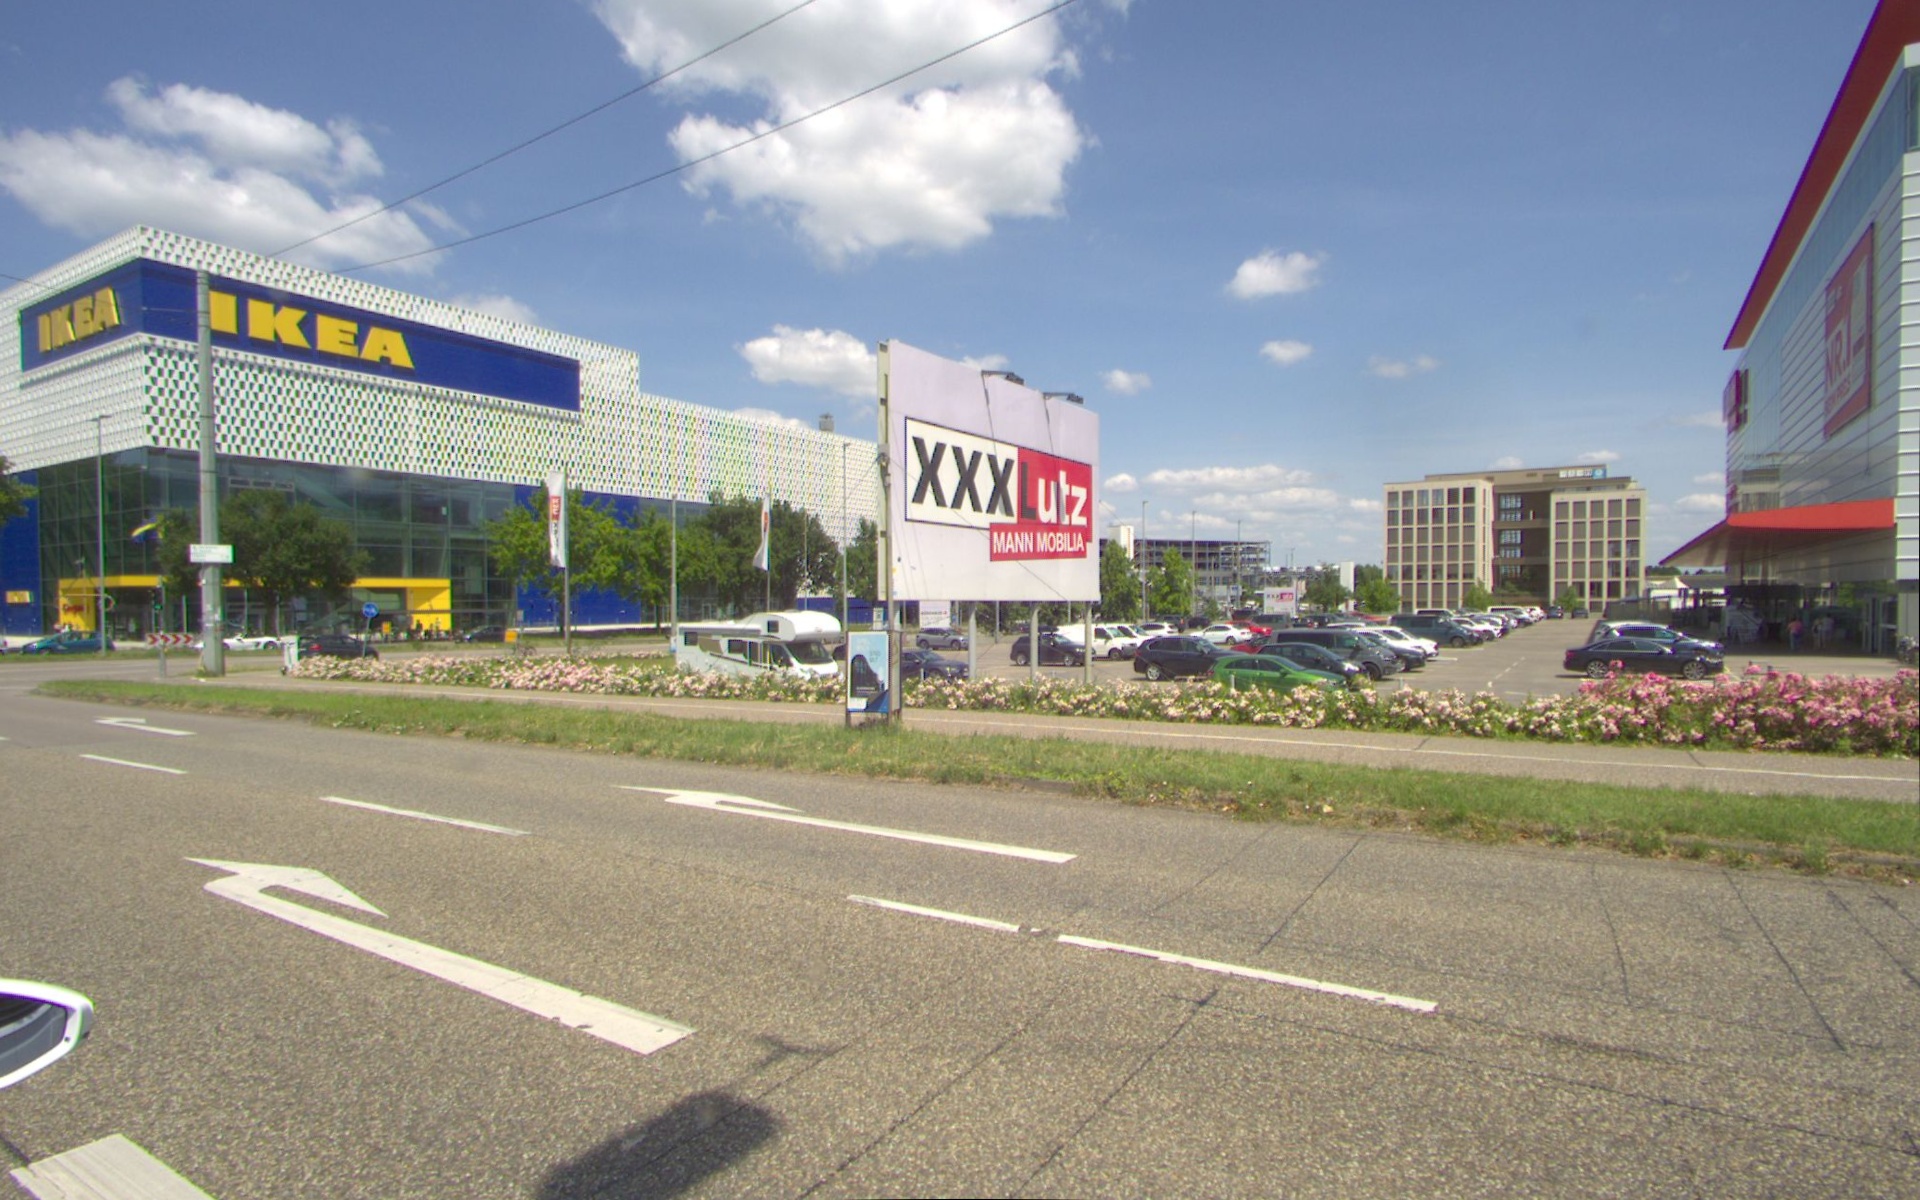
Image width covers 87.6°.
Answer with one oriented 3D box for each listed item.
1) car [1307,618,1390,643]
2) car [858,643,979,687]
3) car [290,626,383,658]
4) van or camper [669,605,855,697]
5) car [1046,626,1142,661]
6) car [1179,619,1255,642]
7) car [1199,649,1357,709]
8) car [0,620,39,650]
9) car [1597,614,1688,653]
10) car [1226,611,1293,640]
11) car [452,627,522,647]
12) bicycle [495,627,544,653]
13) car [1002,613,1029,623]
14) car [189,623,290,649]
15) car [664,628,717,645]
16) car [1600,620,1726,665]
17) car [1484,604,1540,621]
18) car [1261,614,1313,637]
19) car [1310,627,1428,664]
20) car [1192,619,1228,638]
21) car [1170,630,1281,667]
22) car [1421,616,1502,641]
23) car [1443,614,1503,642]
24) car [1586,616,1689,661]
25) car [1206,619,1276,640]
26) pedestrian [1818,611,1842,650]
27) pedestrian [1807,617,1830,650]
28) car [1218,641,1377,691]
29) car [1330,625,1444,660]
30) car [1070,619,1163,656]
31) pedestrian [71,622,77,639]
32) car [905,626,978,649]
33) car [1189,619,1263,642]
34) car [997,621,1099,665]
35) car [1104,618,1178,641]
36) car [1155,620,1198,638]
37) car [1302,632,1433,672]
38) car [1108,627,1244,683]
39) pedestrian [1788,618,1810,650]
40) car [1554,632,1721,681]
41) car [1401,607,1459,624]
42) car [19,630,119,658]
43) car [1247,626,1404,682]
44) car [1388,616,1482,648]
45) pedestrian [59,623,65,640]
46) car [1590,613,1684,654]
[{"bbox_3d":[26.141,2.037,67.481,4.930,1.631,1.990,-1,-1,33],"label":"car"},{"bbox_3d":[-1.735,2.621,41.085,4.702,1.558,1.989,-1,0,33],"label":"car"},{"bbox_3d":[-31.724,2.110,51.126,1.733,1.546,4.098,0,-1,10],"label":"car"},{"bbox_3d":[-7.317,1.771,36.474,7.129,3.059,2.499,-1,-1,36],"label":"van or camper"},{"bbox_3d":[7.442,2.377,55.753,4.930,1.876,1.990,-1,-1,33],"label":"car"},{"bbox_3d":[18.479,2.175,72.129,4.930,1.631,1.990,-1,-1,33],"label":"car"},{"bbox_3d":[9.745,2.374,30.751,4.242,1.517,1.988,-1,2,33],"label":"car"},{"bbox_3d":[-48.830,1.718,49.545,1.974,1.505,4.485,-1,-2,36],"label":"car"},{"bbox_3d":[36.720,1.788,54.024,3.943,2.040,1.990,-1,-1,32],"label":"car"},{"bbox_3d":[24.719,2.085,82.677,4.930,2.333,1.990,-1,-1,33],"label":"car"},{"bbox_3d":[-35.923,2.782,76.167,1.974,1.505,4.484,-1,-2,36],"label":"car"},{"bbox_3d":[-25.186,2.272,57.326,0.976,1.500,2.415,-1,-1,37],"label":"bicycle"},{"bbox_3d":[8.240,2.685,148.632,1.974,1.505,4.485,-1,-2,36],"label":"car"},{"bbox_3d":[-42.697,2.150,59.437,1.974,1.505,4.485,-1,-2,36],"label":"car"},{"bbox_3d":[-24.716,3.343,91.927,1.974,1.505,4.484,-1,-2,36],"label":"car"},{"bbox_3d":[29.724,1.796,42.531,4.271,1.804,1.990,-1,-2,33],"label":"car"},{"bbox_3d":[56.557,1.315,102.626,4.930,1.631,1.990,-1,-1,33],"label":"car"},{"bbox_3d":[28.880,2.257,88.425,3.943,2.040,1.990,-1,-1,32],"label":"car"},{"bbox_3d":[19.375,2.119,47.534,4.930,1.631,1.990,-1,-1,33],"label":"car"},{"bbox_3d":[32.173,3.666,129.060,4.067,2.037,1.481,4,-4,33],"label":"car"},{"bbox_3d":[12.999,2.337,49.112,4.930,1.632,1.989,-1,0,33],"label":"car"},{"bbox_3d":[34.985,1.986,69.900,4.930,1.631,1.990,-1,-1,33],"label":"car"},{"bbox_3d":[39.200,2.136,76.477,3.943,2.040,1.990,-1,-1,32],"label":"car"},{"bbox_3d":[32.035,1.798,47.485,3.943,2.040,1.990,-1,-1,32],"label":"car"},{"bbox_3d":[22.058,2.331,78.596,4.930,1.631,1.990,-1,-1,33],"label":"car"},{"bbox_3d":[42.641,1.512,49.081,0.725,1.893,0.739,0,-1,30],"label":"pedestrian"},{"bbox_3d":[41.681,1.631,48.635,0.725,1.578,0.739,0,-1,30],"label":"pedestrian"},{"bbox_3d":[11.731,2.256,34.916,4.930,1.570,1.990,-1,-1,33],"label":"car"},{"bbox_3d":[21.167,2.086,49.698,4.930,1.672,1.990,-1,-1,33],"label":"car"},{"bbox_3d":[8.998,2.152,57.819,4.930,2.033,1.990,-1,-1,33],"label":"car"},{"bbox_3d":[-71.818,2.483,81.200,0.263,1.360,0.288,-1,0,32],"label":"pedestrian"},{"bbox_3d":[-1.341,2.711,72.769,5.083,1.631,1.990,-1,-1,33],"label":"car"},{"bbox_3d":[19.664,2.265,74.169,4.930,1.631,1.990,-1,-1,33],"label":"car"},{"bbox_3d":[4.532,2.179,51.777,4.930,2.162,1.990,-1,-1,33],"label":"car"},{"bbox_3d":[13.059,2.114,72.388,4.922,1.631,1.993,-1,-1,27],"label":"car"},{"bbox_3d":[22.013,2.940,101.882,3.943,1.863,1.819,-1,-1,32],"label":"car"},{"bbox_3d":[17.480,2.187,43.025,4.930,1.631,1.990,-1,-1,33],"label":"car"},{"bbox_3d":[8.588,2.136,39.989,4.930,2.040,1.989,-1,1,33],"label":"car"},{"bbox_3d":[41.669,1.675,49.736,0.725,1.578,0.739,0,-1,30],"label":"pedestrian"},{"bbox_3d":[24.558,2.013,36.553,4.930,1.631,1.990,-1,-1,33],"label":"car"},{"bbox_3d":[45.825,1.557,97.701,4.930,1.631,1.990,-1,-1,33],"label":"car"},{"bbox_3d":[-49.106,2.421,55.234,1.974,1.505,3.779,-1,-2,36],"label":"car"},{"bbox_3d":[14.197,2.047,39.035,5.456,2.039,1.990,-1,-1,33],"label":"car"},{"bbox_3d":[29.244,1.958,61.711,5.106,1.889,1.991,-1,-1,31],"label":"car"},{"bbox_3d":[-72.786,2.530,81.162,0.263,1.360,0.288,-1,0,32],"label":"pedestrian"},{"bbox_3d":[35.063,1.710,51.983,3.943,2.039,1.990,-1,-1,32],"label":"car"}]
